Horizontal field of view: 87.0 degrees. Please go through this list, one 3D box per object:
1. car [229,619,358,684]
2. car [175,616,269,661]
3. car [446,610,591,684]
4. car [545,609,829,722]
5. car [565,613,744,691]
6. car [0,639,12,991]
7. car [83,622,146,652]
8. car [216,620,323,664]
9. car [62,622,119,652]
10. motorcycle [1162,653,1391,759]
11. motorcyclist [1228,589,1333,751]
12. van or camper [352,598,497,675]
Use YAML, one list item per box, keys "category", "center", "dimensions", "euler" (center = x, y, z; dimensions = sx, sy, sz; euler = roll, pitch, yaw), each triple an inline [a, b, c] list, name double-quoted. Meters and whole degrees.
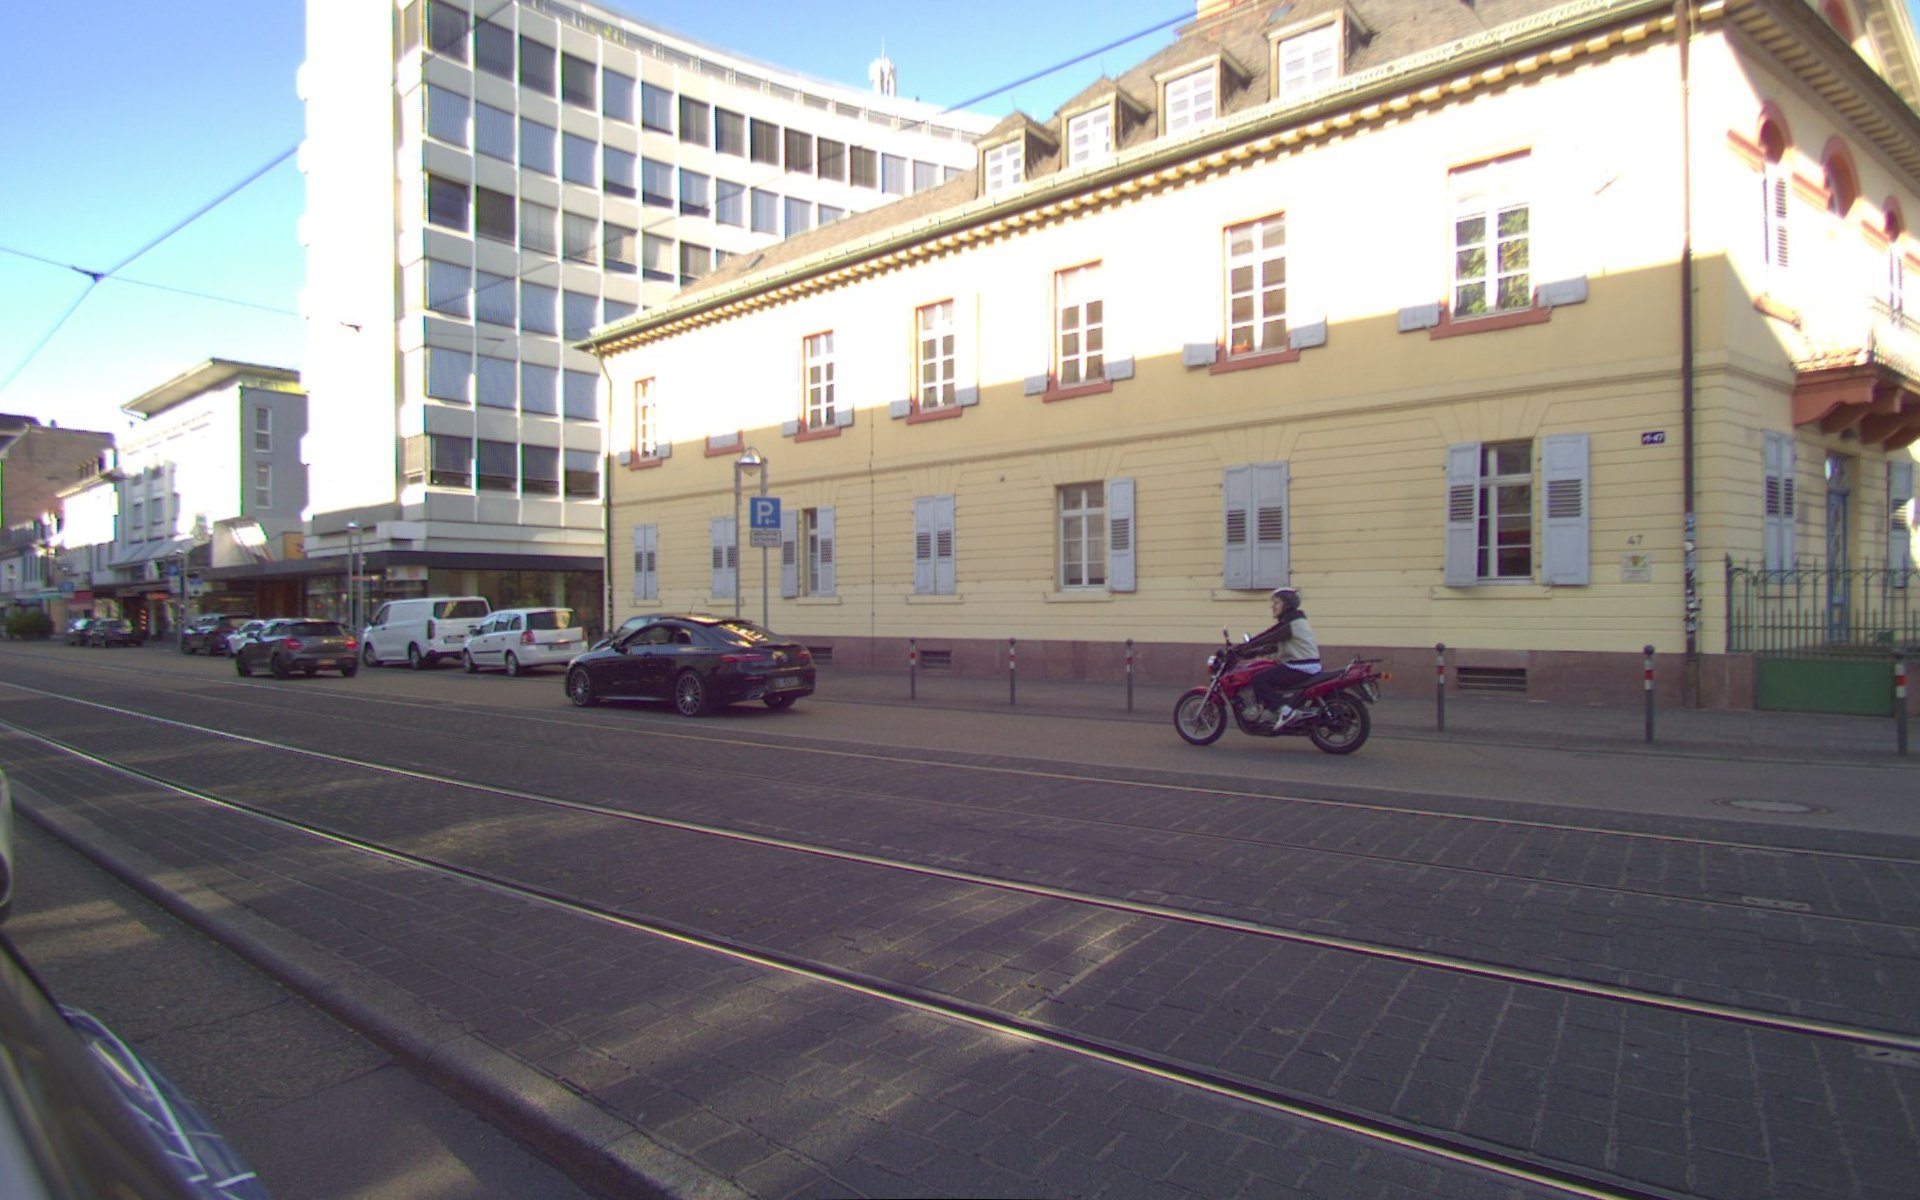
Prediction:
- category: "car"
  center: [-16.863, 1.264, 25.538]
  dimensions: [3.858, 1.521, 1.758]
  euler: [-2, -2, 41]
- category: "car"
  center: [-29.892, 1.515, 40.971]
  dimensions: [4.275, 1.654, 1.908]
  euler: [-1, 1, 37]
- category: "car"
  center: [-11.114, 1.109, 25.359]
  dimensions: [4.175, 1.632, 1.758]
  euler: [-1, 1, 42]
- category: "car"
  center: [-4.323, 0.938, 15.697]
  dimensions: [4.661, 1.521, 1.761]
  euler: [-1, -2, 37]
- category: "car"
  center: [-6.579, 1.043, 21.632]
  dimensions: [3.958, 1.450, 1.759]
  euler: [-1, 1, 40]
- category: "car"
  center: [-6.364, 0.892, 5.033]
  dimensions: [4.771, 1.450, 1.845]
  euler: [-1, -2, 40]
- category: "car"
  center: [-43.658, 1.880, 52.249]
  dimensions: [3.593, 1.427, 1.764]
  euler: [-1, 0, 38]
- category: "car"
  center: [-25.678, 1.521, 37.587]
  dimensions: [4.285, 1.463, 1.909]
  euler: [-1, 1, 36]
- category: "car"
  center: [-47.939, 2.003, 55.756]
  dimensions: [3.830, 1.531, 1.764]
  euler: [-1, 0, 40]
- category: "motorcycle"
  center: [3.194, 1.037, 10.334]
  dimensions: [2.148, 0.933, 0.595]
  euler: [-1, 0, 32]
- category: "motorcyclist"
  center: [3.266, 0.679, 10.299]
  dimensions: [0.881, 1.570, 0.647]
  euler: [-1, 0, 31]
- category: "van or camper"
  center: [-15.427, 0.996, 29.056]
  dimensions: [4.792, 1.988, 1.936]
  euler: [-1, 1, 39]
